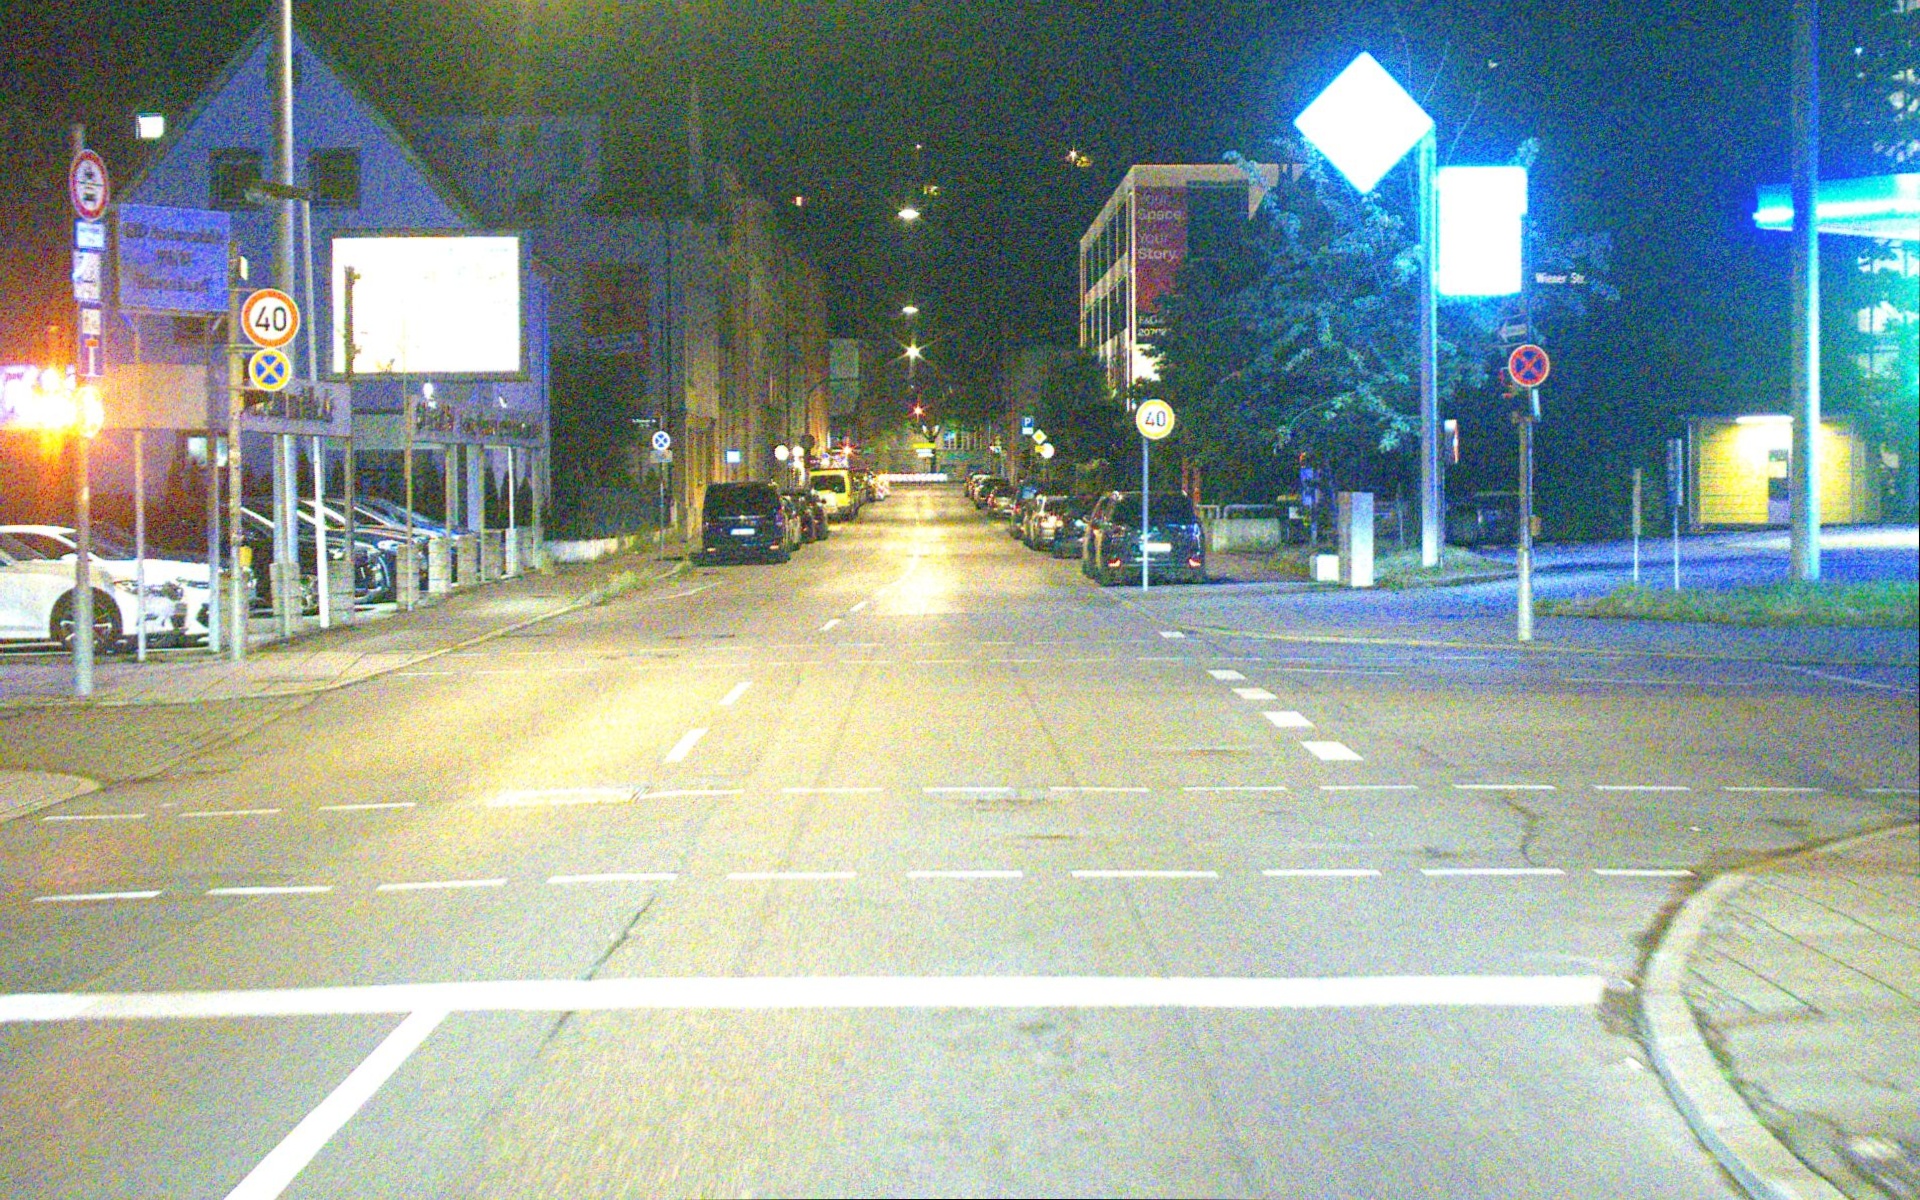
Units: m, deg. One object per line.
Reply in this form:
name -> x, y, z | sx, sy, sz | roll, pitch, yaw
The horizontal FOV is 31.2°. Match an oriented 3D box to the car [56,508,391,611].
car -> -10.624, -0.597, 49.836 | 4.439, 1.444, 2.000 | 0, 1, -1

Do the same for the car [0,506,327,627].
car -> -10.182, -0.428, 42.258 | 4.439, 1.444, 2.000 | 0, 1, -1

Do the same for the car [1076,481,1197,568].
car -> 3.341, -1.475, 65.654 | 1.993, 1.590, 4.001 | 0, 2, -2

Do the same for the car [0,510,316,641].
car -> -9.708, -0.291, 39.061 | 4.438, 1.444, 2.000 | 0, 1, -1

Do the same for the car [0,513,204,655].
car -> -10.376, -0.184, 36.091 | 4.439, 1.444, 2.000 | 0, 1, -1

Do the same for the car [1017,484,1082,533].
car -> 2.807, -2.867, 108.242 | 1.993, 1.515, 4.000 | 0, 1, 1

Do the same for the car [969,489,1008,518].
car -> 1.501, -5.021, 179.213 | 1.993, 1.515, 4.000 | 0, 1, 1

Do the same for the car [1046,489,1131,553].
car -> 3.099, -1.931, 83.811 | 1.993, 1.515, 4.000 | 0, 1, 1

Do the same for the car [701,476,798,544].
car -> -4.781, -2.051, 78.543 | 1.993, 1.496, 4.000 | 0, 1, 0

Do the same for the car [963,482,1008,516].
car -> 1.177, -4.588, 156.154 | 1.993, 1.515, 4.000 | 0, 1, 1

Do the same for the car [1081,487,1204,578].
car -> 3.150, -1.199, 59.965 | 1.993, 1.511, 4.000 | 1, 2, 1

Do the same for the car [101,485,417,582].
car -> -10.683, -1.025, 52.654 | 4.439, 1.444, 2.000 | 0, 1, -1

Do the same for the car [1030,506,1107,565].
car -> 2.848, -1.719, 90.957 | 1.993, 1.515, 4.000 | 0, 1, 1
